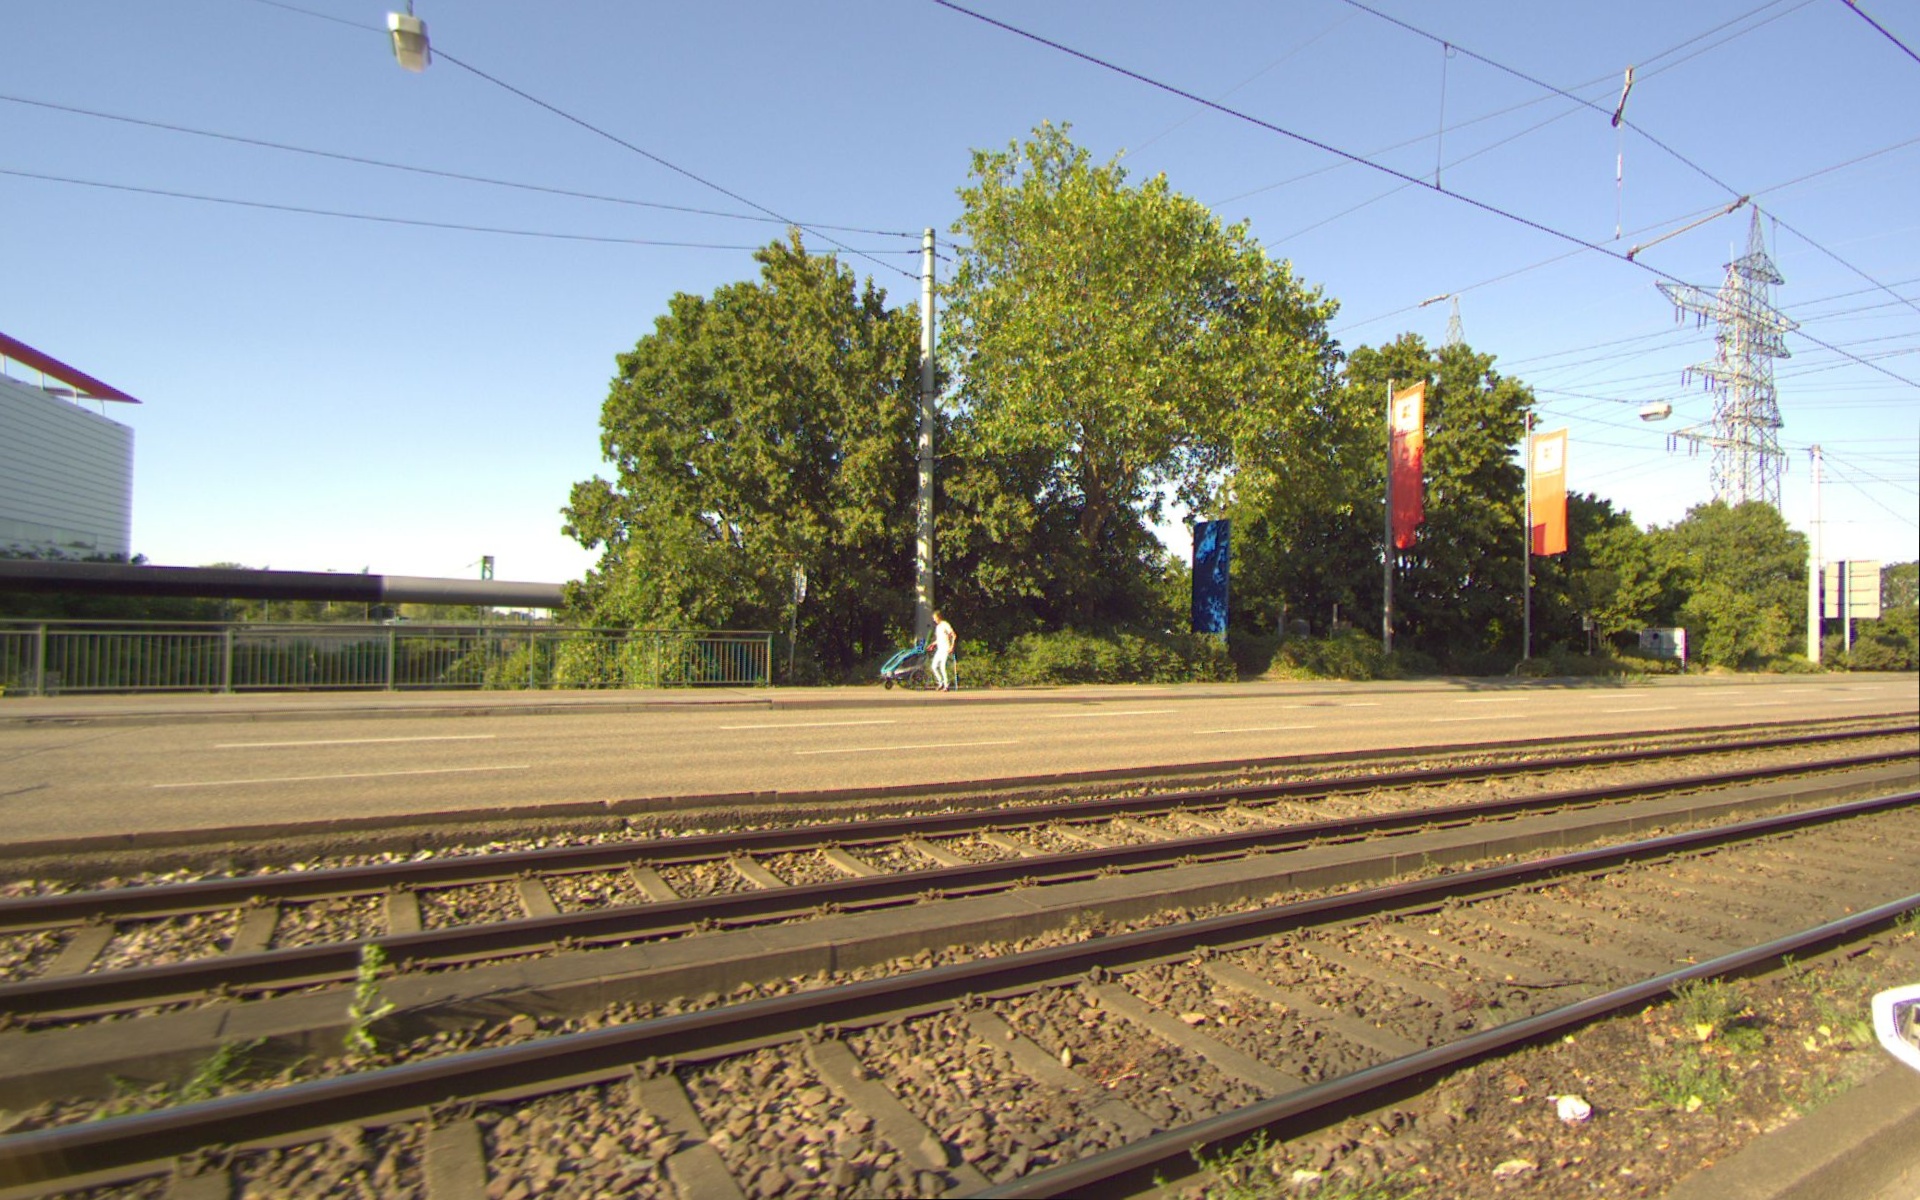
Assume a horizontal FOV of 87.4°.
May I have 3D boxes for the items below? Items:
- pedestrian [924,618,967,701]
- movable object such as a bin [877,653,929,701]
[{"bbox_3d":[-0.329,1.329,22.493,0.820,1.780,0.725,2,1,-8],"label":"pedestrian"},{"bbox_3d":[-1.279,1.701,22.363,1.081,0.974,0.725,2,1,-8],"label":"movable object such as a bin"}]
